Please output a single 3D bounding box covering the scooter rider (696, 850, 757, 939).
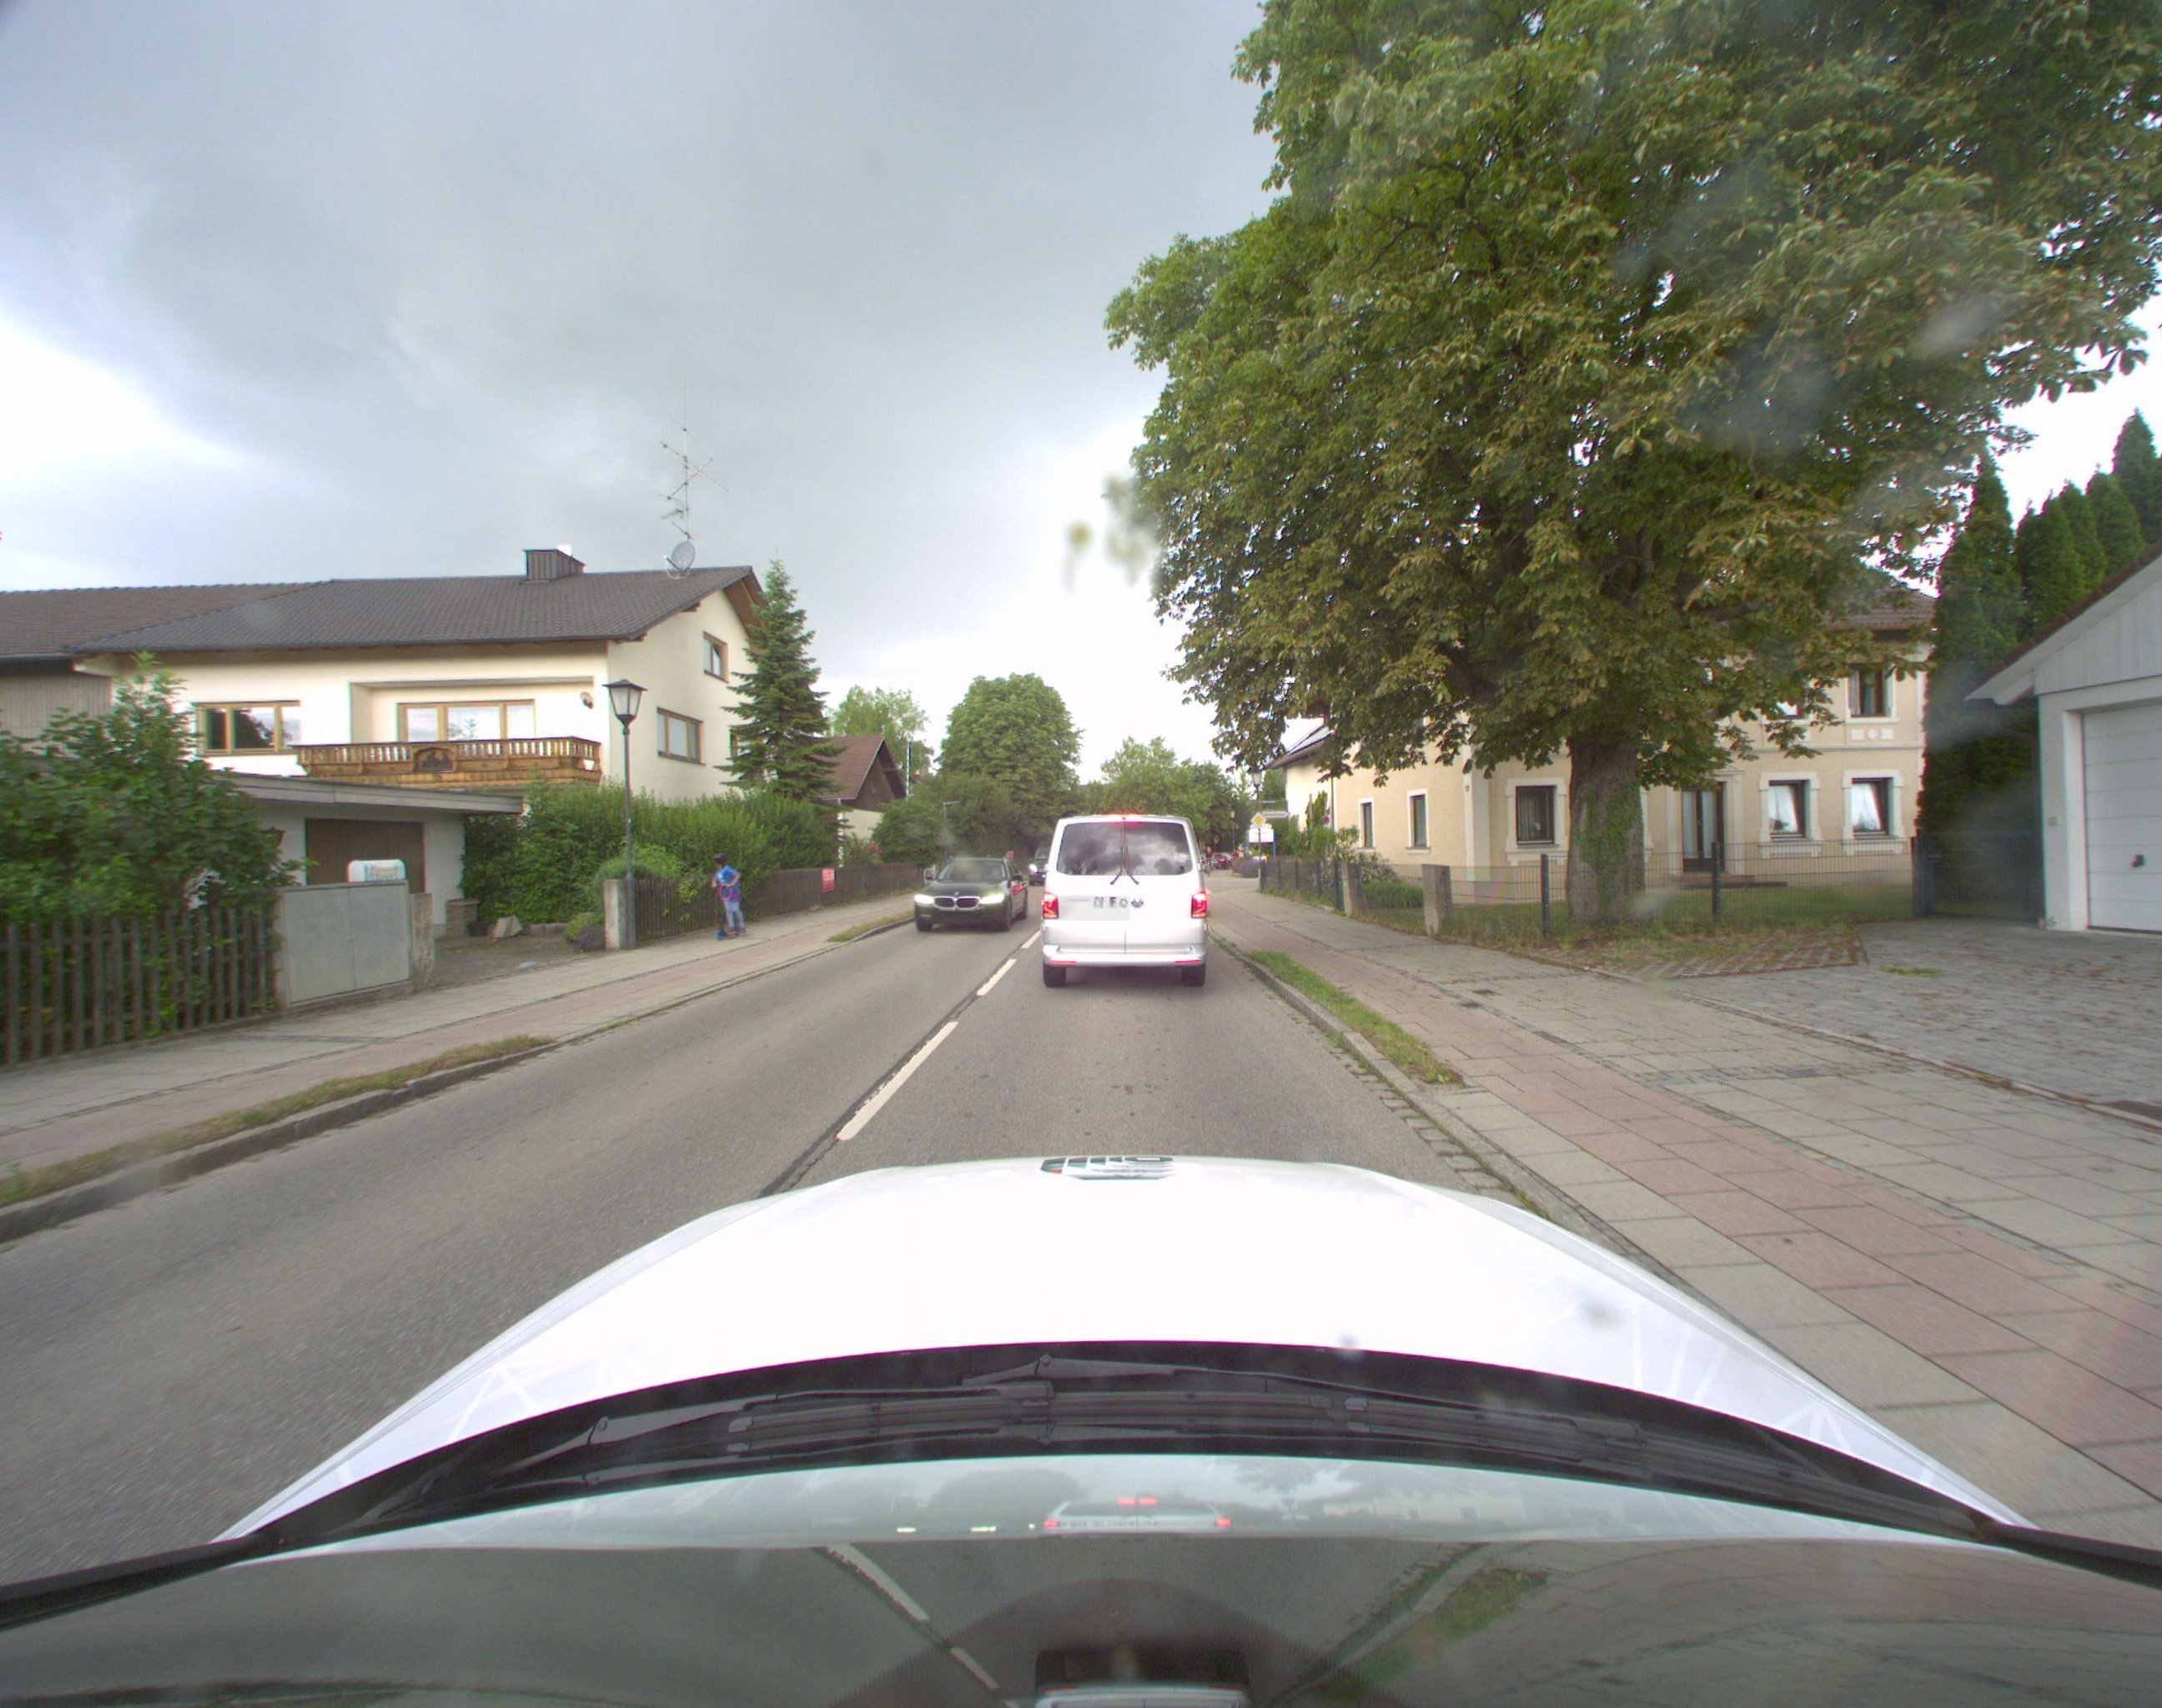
[{"bbox_3d":[-6.305,0.706,14.526,0.690,1.524,0.801,1,0,1],"label":"scooter rider"}]

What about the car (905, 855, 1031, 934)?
[{"bbox_3d":[-2.257,0.763,17.565,1.838,1.454,4.552,0,0,3],"label":"car"}]

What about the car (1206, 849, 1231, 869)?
[{"bbox_3d":[12.621,0.430,74.594,1.867,1.748,4.096,-1,0,15],"label":"car"}]

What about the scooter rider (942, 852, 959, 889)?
[{"bbox_3d":[-5.331,0.659,33.340,0.501,1.489,0.716,-1,0,2],"label":"scooter rider"}]

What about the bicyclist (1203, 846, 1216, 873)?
[{"bbox_3d":[7.864,0.311,49.841,0.733,1.632,0.891,-1,0,3],"label":"bicyclist"}]

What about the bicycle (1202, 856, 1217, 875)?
[{"bbox_3d":[7.843,0.695,49.808,0.761,1.143,1.847,-1,0,5],"label":"bicycle"}]

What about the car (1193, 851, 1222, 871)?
[{"bbox_3d":[10.566,0.562,67.609,1.867,1.535,3.937,-1,0,16],"label":"car"}]

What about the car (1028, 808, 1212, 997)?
[{"bbox_3d":[0.504,0.504,10.461,1.873,1.940,3.923,-1,0,3],"label":"car"}]

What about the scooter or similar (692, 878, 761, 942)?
[{"bbox_3d":[-6.292,0.974,14.497,0.659,1.037,1.179,-1,0,1],"label":"scooter or similar"}]

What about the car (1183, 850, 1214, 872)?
[{"bbox_3d":[8.965,0.521,61.788,1.868,1.535,3.936,-1,0,14],"label":"car"}]

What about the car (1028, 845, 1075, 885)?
[{"bbox_3d":[-1.411,0.512,40.667,1.957,1.853,4.951,-1,0,2],"label":"car"}]
